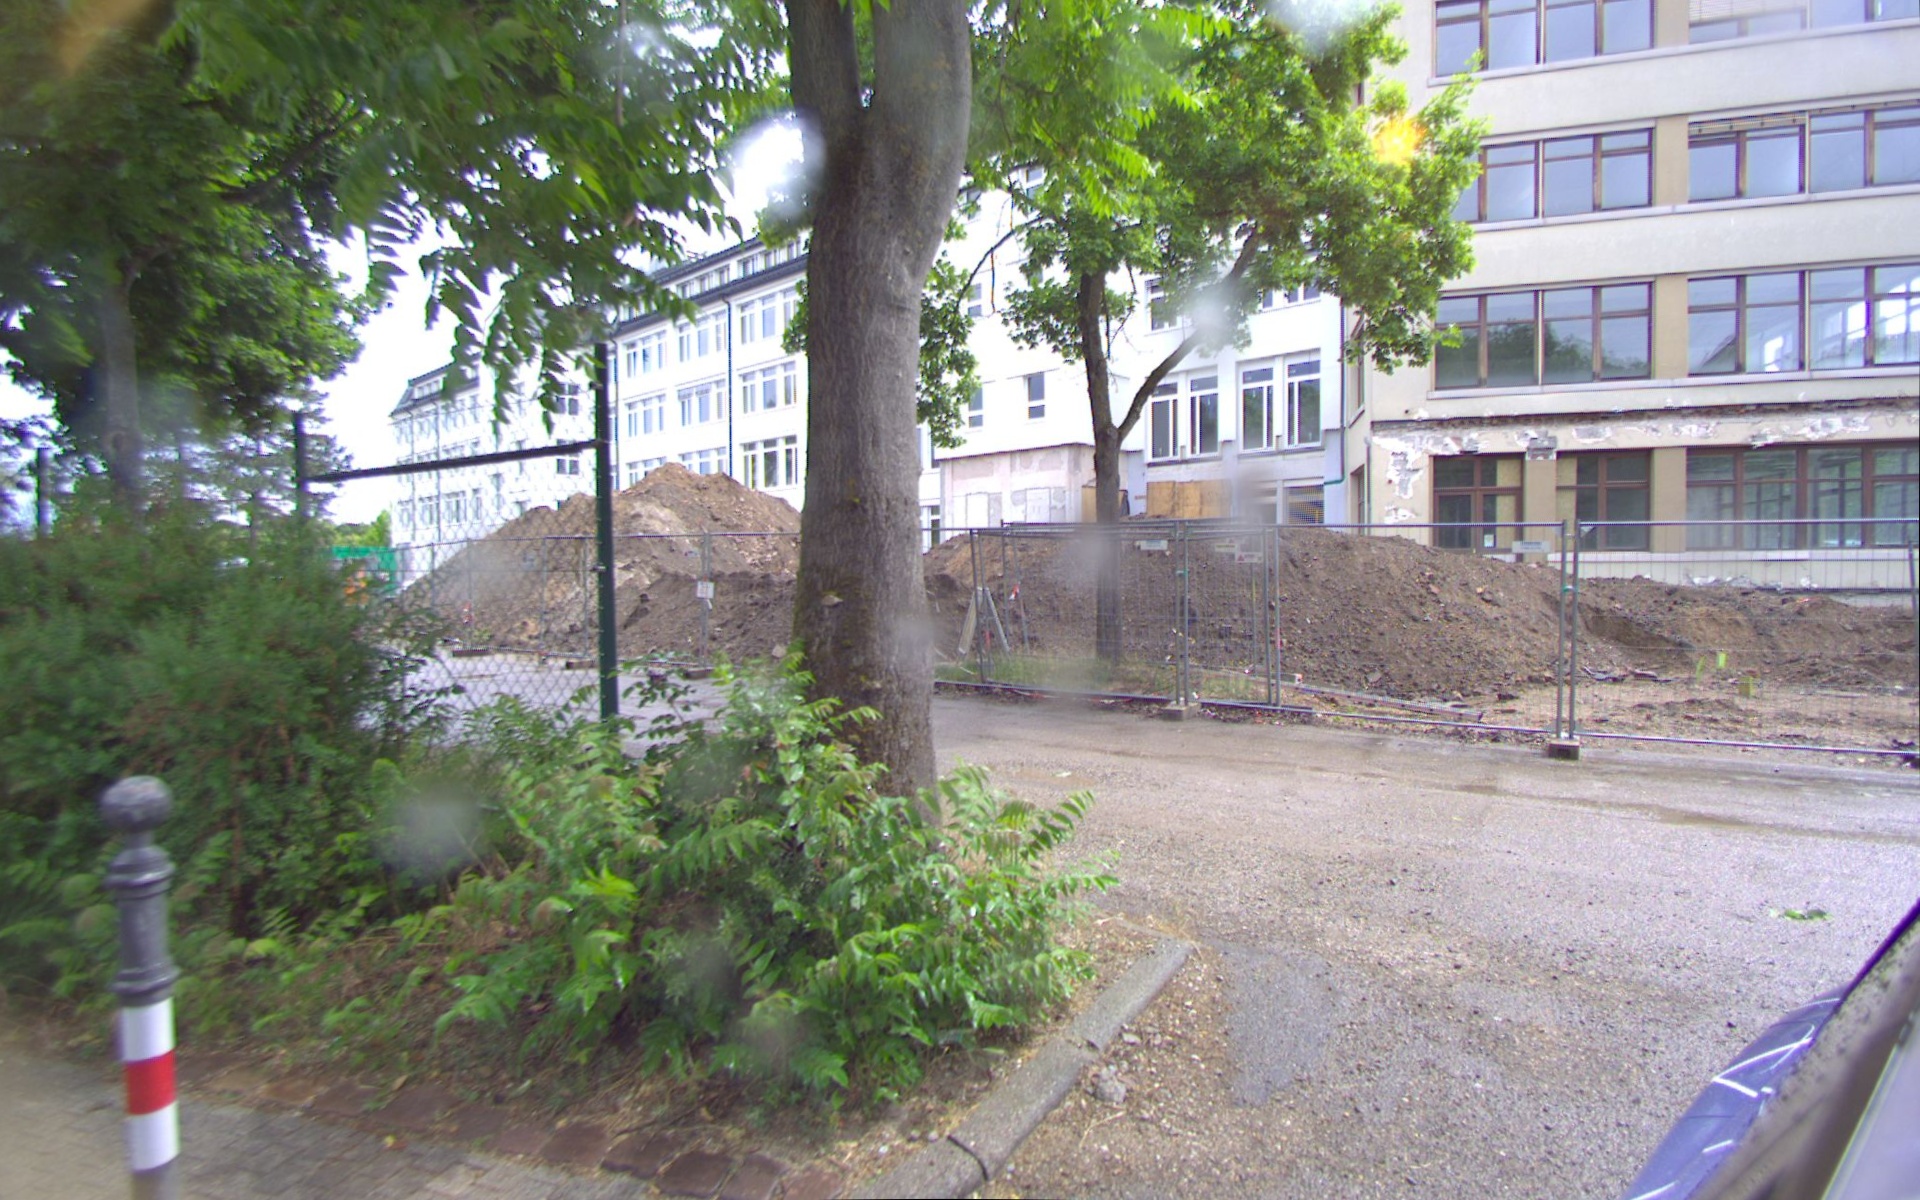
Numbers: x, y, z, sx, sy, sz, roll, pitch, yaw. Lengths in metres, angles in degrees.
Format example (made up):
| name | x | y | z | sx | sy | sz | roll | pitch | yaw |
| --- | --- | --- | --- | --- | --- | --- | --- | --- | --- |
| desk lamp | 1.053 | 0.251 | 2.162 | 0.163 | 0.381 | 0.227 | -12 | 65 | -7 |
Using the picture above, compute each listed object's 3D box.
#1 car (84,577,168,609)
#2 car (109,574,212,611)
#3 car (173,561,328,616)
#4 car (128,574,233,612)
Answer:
| name | x | y | z | sx | sy | sz | roll | pitch | yaw |
| --- | --- | --- | --- | --- | --- | --- | --- | --- | --- |
| car | -54.952 | -0.484 | 66.707 | 1.991 | 1.863 | 3.944 | 1 | 4 | 40 |
| car | -41.522 | -0.427 | 52.620 | 1.993 | 1.753 | 3.939 | 1 | 3 | 43 |
| car | -28.450 | -0.519 | 40.675 | 2.394 | 1.964 | 4.715 | 1 | 3 | 43 |
| car | -39.427 | -0.395 | 51.251 | 1.993 | 1.745 | 3.939 | 1 | 3 | 43 |
